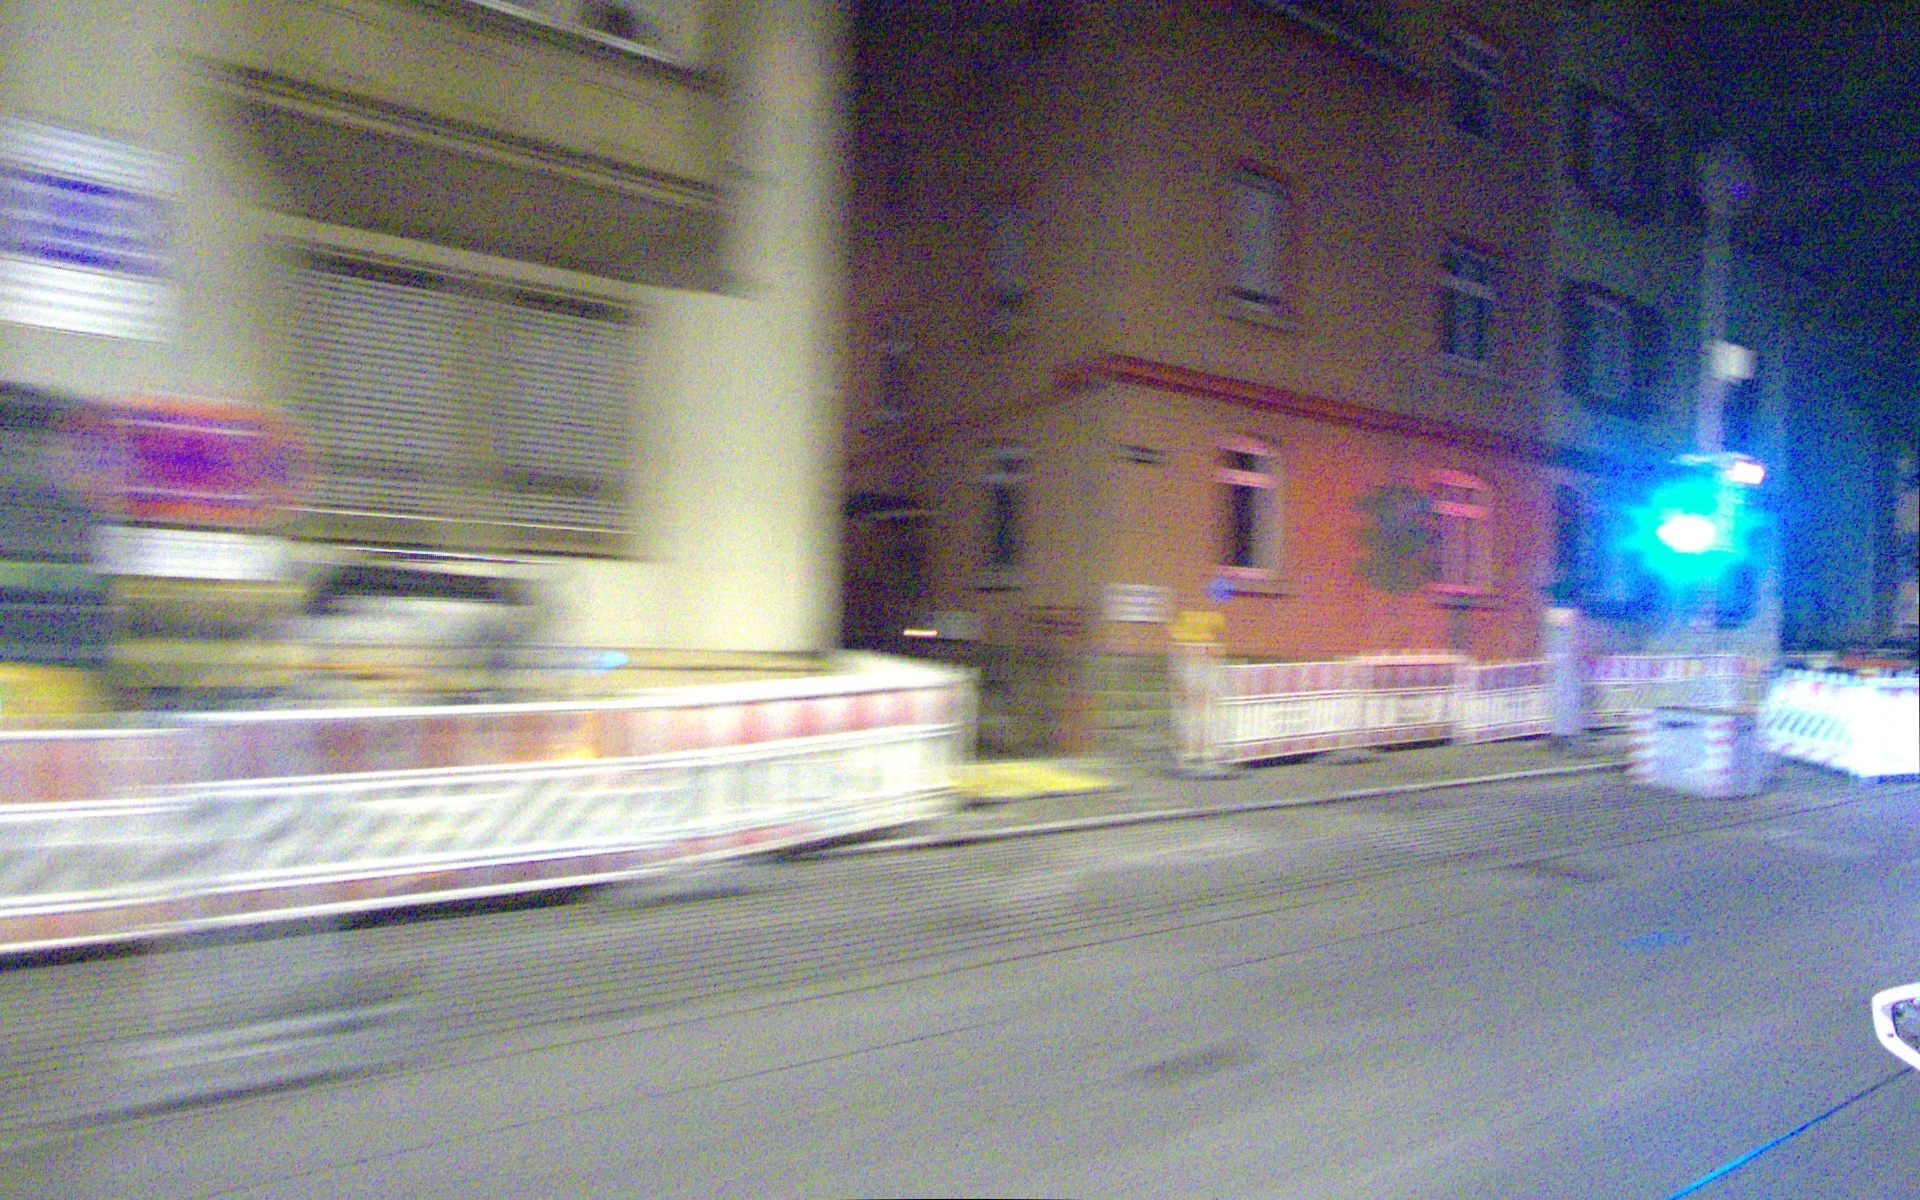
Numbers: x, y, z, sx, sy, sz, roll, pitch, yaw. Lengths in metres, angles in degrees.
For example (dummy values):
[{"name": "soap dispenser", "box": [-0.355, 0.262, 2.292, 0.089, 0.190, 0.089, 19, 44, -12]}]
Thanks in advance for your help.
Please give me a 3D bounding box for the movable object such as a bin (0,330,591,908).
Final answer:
[{"name": "movable object such as a bin", "box": [-4.235, 0.118, 5.624, 3.862, 2.661, 1.565, 2, -2, -29]}]
